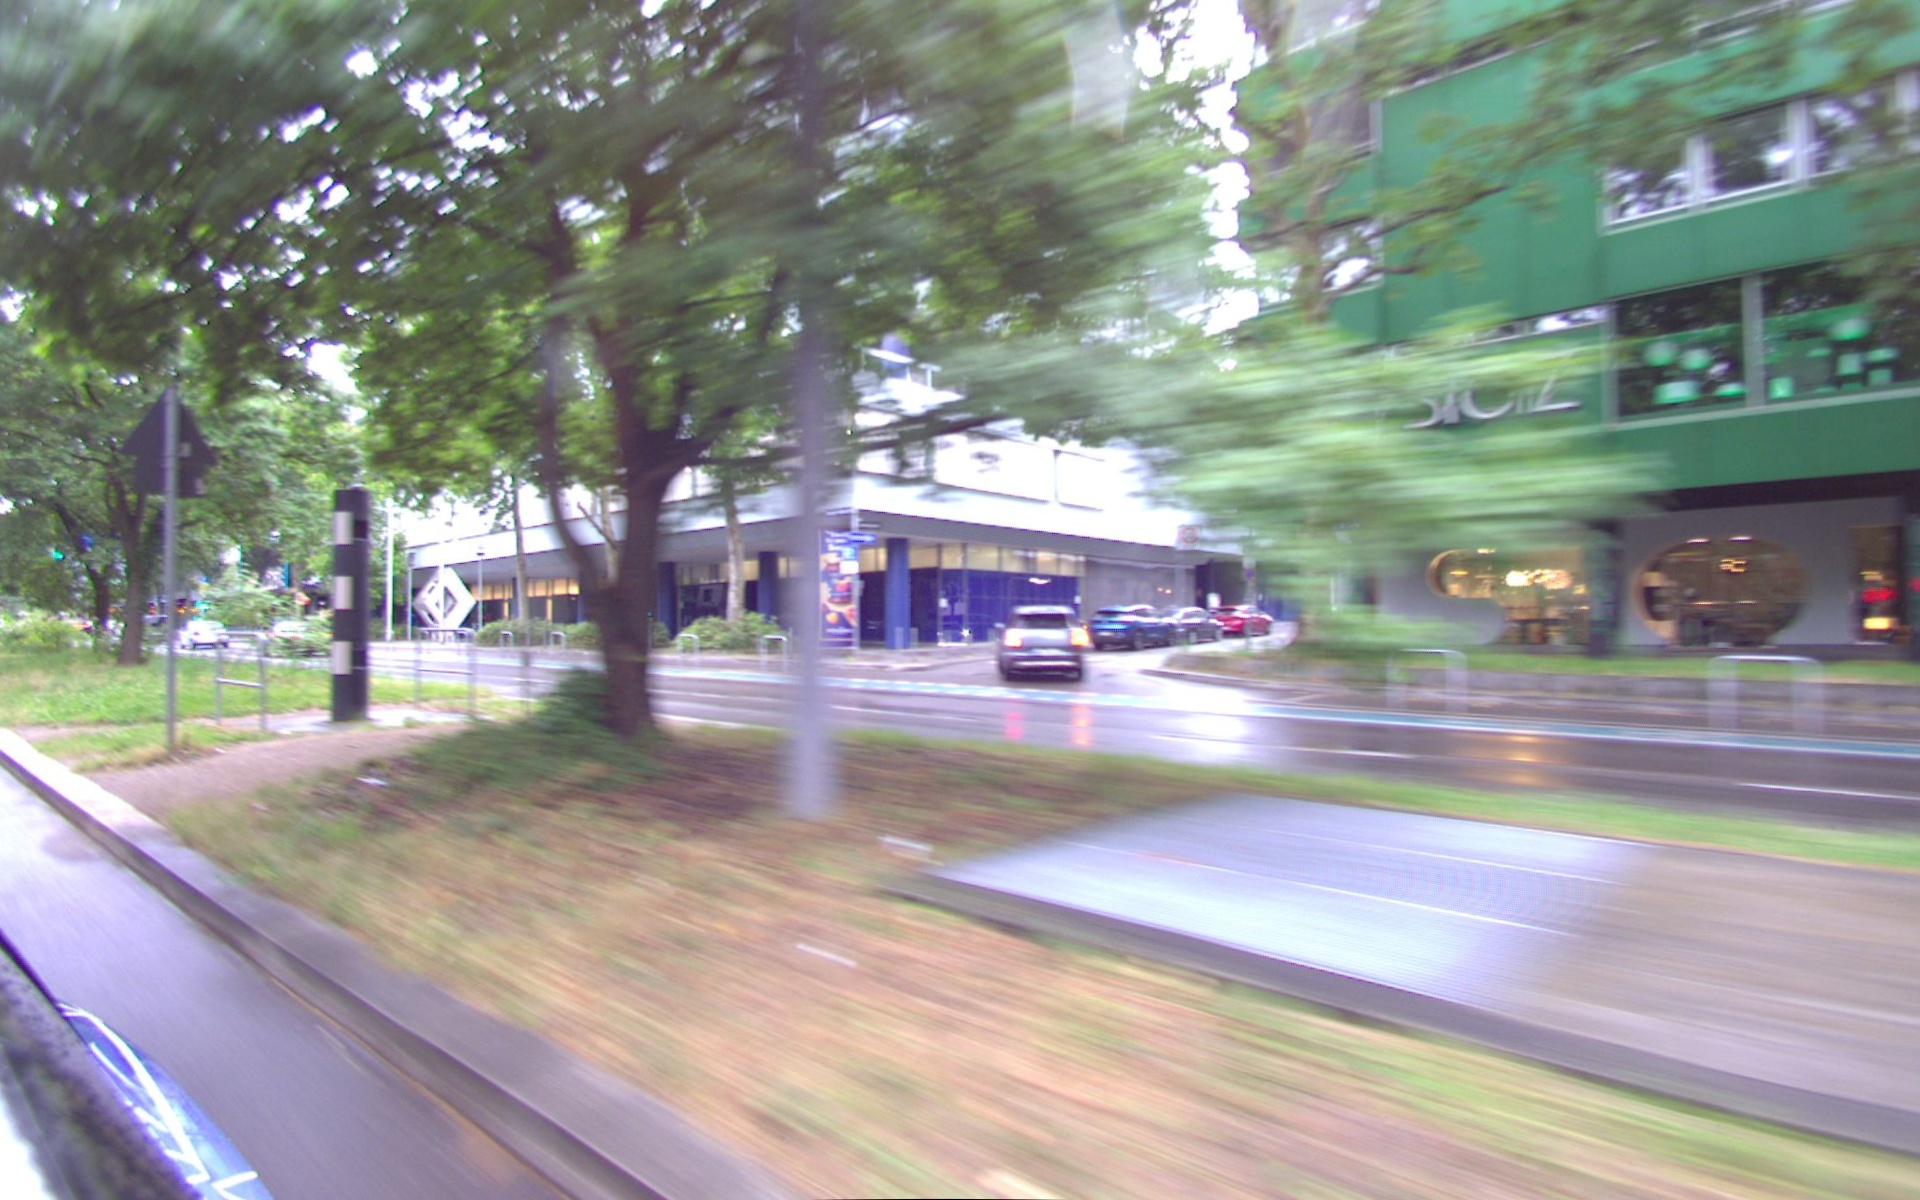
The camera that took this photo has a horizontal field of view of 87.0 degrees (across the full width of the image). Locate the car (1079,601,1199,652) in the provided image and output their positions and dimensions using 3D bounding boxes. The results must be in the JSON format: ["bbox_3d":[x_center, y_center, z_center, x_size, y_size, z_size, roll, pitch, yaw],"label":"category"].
[{"bbox_3d":[6.705,0.943,37.580,2.000,1.705,4.933,-1,0,43],"label":"car"}]

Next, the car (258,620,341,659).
[{"bbox_3d":[-27.338,1.632,41.816,1.970,1.503,4.759,2,-3,-44],"label":"car"}]

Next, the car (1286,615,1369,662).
[{"bbox_3d":[14.665,1.495,40.266,1.997,1.697,3.949,-2,-1,37],"label":"car"}]

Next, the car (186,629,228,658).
[{"bbox_3d":[-39.616,2.269,53.203,3.561,1.473,1.148,-2,-2,43],"label":"car"}]

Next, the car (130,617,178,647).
[{"bbox_3d":[-52.077,2.070,65.391,1.970,1.815,4.284,1,-2,-45],"label":"car"}]
